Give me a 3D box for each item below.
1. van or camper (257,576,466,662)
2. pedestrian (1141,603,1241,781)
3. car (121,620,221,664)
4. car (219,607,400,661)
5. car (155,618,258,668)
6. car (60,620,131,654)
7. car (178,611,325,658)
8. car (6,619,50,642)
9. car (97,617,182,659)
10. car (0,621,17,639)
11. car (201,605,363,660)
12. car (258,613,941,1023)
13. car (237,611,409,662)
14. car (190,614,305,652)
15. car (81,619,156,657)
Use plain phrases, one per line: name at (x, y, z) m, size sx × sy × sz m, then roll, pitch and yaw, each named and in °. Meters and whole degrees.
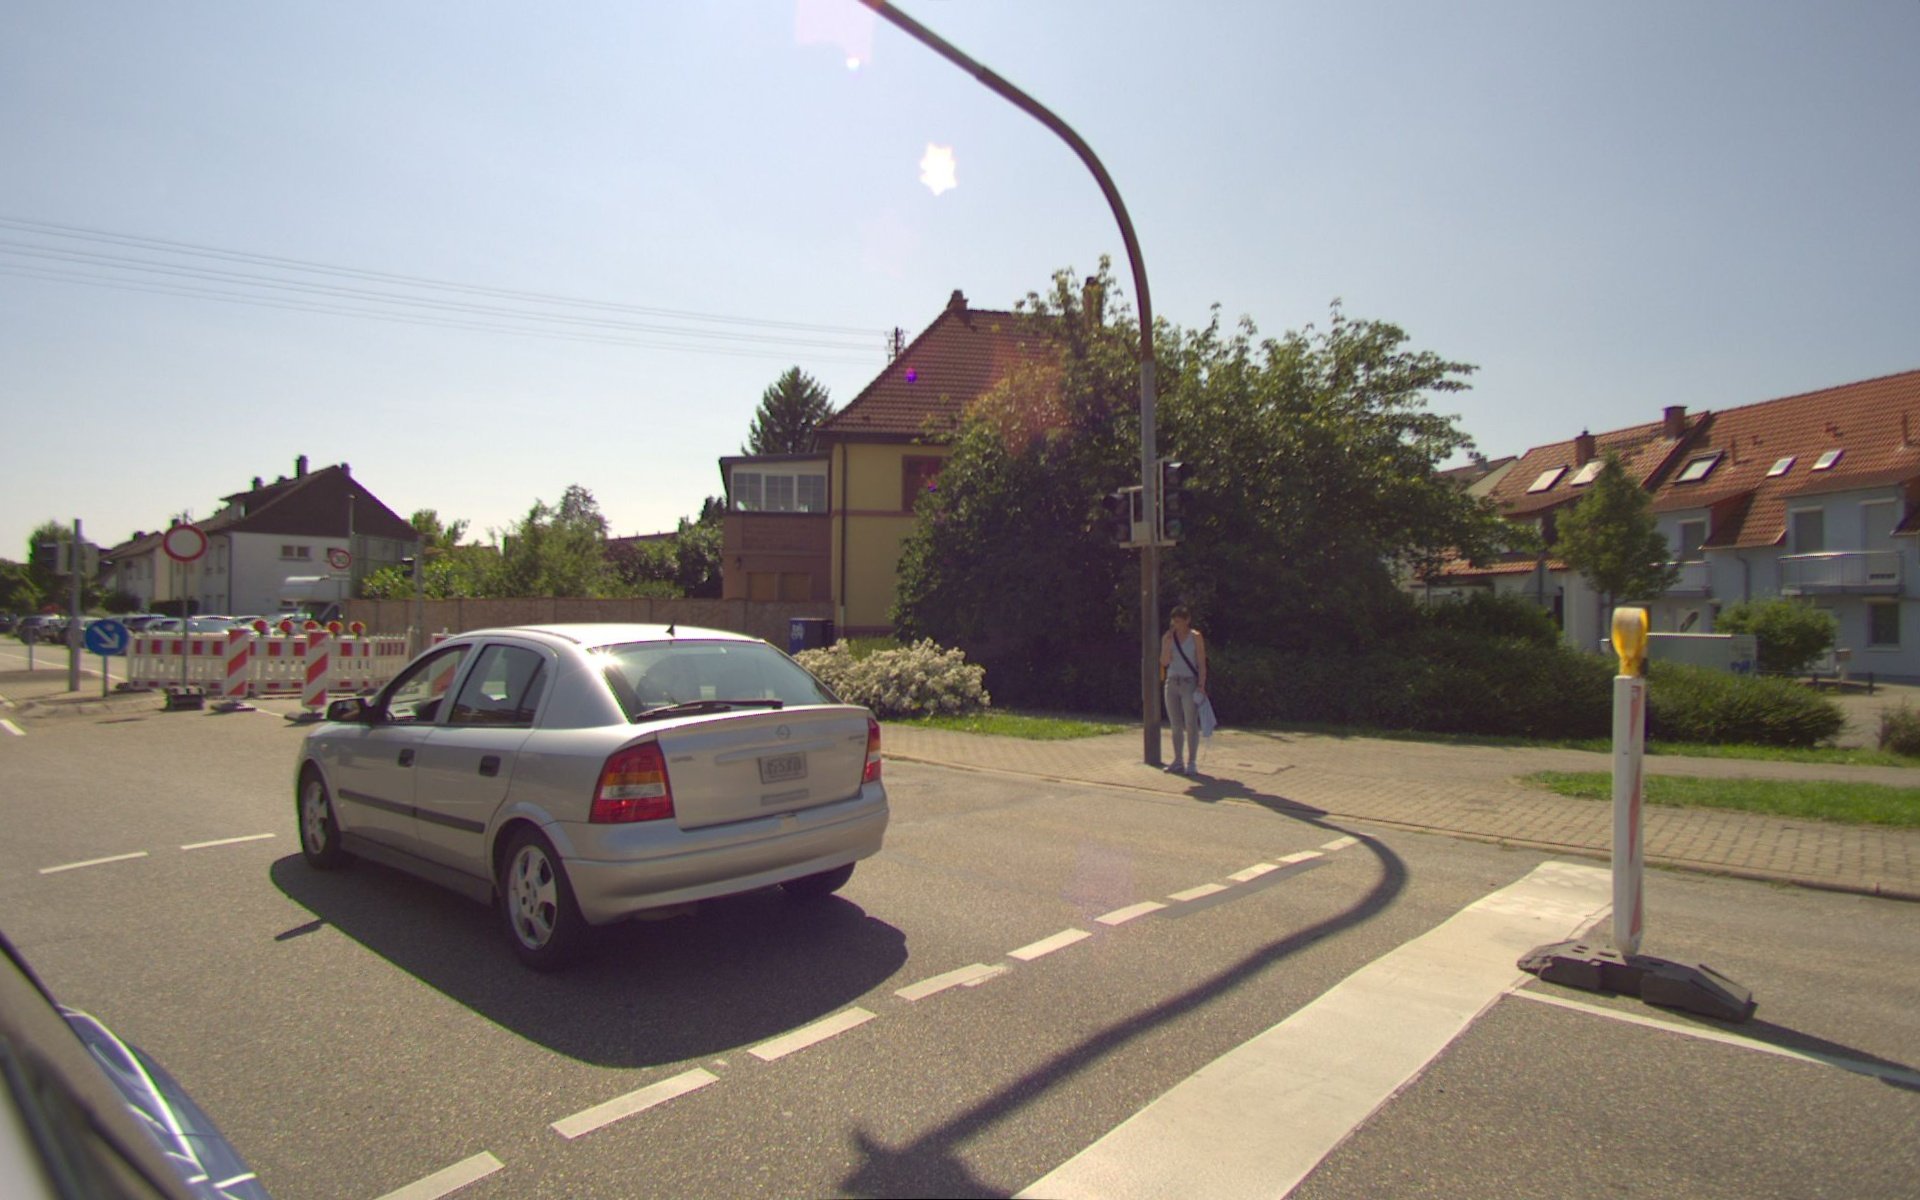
van or camper at (-21.529, 0.700, 36.767) m, size 2.283 × 2.866 × 6.193 m, roll -1°, pitch -1°, yaw 33°
pedestrian at (2.235, 0.856, 9.802) m, size 0.688 × 1.620 × 0.608 m, roll -1°, pitch 1°, yaw 42°
car at (-28.601, 1.500, 36.638) m, size 4.505 × 1.511 × 1.928 m, roll -1°, pitch -3°, yaw 40°
car at (-25.791, 1.320, 40.387) m, size 2.127 × 2.017 × 5.715 m, roll -1°, pitch -1°, yaw 34°
car at (-24.680, 1.379, 33.091) m, size 4.509 × 1.511 × 1.926 m, roll -1°, pitch -3°, yaw 44°
car at (-42.155, 1.783, 49.305) m, size 4.542 × 1.559 × 1.839 m, roll -1°, pitch -3°, yaw 40°
car at (-30.052, 1.455, 43.062) m, size 1.996 × 1.878 × 4.719 m, roll -1°, pitch -2°, yaw 36°
car at (-63.727, 2.070, 69.188) m, size 3.913 × 1.525 × 1.717 m, roll -1°, pitch -2°, yaw 40°
car at (-33.030, 1.534, 40.718) m, size 4.225 × 1.603 × 1.839 m, roll -1°, pitch -3°, yaw 40°
car at (-78.282, 2.448, 82.421) m, size 3.913 × 1.428 × 1.717 m, roll -1°, pitch -2°, yaw 40°
car at (-27.880, 1.312, 41.816) m, size 2.207 × 2.103 × 5.120 m, roll -1°, pitch -1°, yaw 34°
car at (-2.145, 0.792, 5.439) m, size 3.976 × 1.414 × 1.682 m, roll -1°, pitch -2°, yaw 40°
car at (-23.745, 1.323, 37.940) m, size 2.125 × 1.782 × 5.059 m, roll -1°, pitch -1°, yaw 33°
car at (-32.589, 1.492, 46.351) m, size 1.764 × 1.628 × 3.952 m, roll -1°, pitch -2°, yaw 35°
car at (-36.818, 1.642, 44.262) m, size 4.176 × 1.559 × 1.838 m, roll -1°, pitch -3°, yaw 41°
